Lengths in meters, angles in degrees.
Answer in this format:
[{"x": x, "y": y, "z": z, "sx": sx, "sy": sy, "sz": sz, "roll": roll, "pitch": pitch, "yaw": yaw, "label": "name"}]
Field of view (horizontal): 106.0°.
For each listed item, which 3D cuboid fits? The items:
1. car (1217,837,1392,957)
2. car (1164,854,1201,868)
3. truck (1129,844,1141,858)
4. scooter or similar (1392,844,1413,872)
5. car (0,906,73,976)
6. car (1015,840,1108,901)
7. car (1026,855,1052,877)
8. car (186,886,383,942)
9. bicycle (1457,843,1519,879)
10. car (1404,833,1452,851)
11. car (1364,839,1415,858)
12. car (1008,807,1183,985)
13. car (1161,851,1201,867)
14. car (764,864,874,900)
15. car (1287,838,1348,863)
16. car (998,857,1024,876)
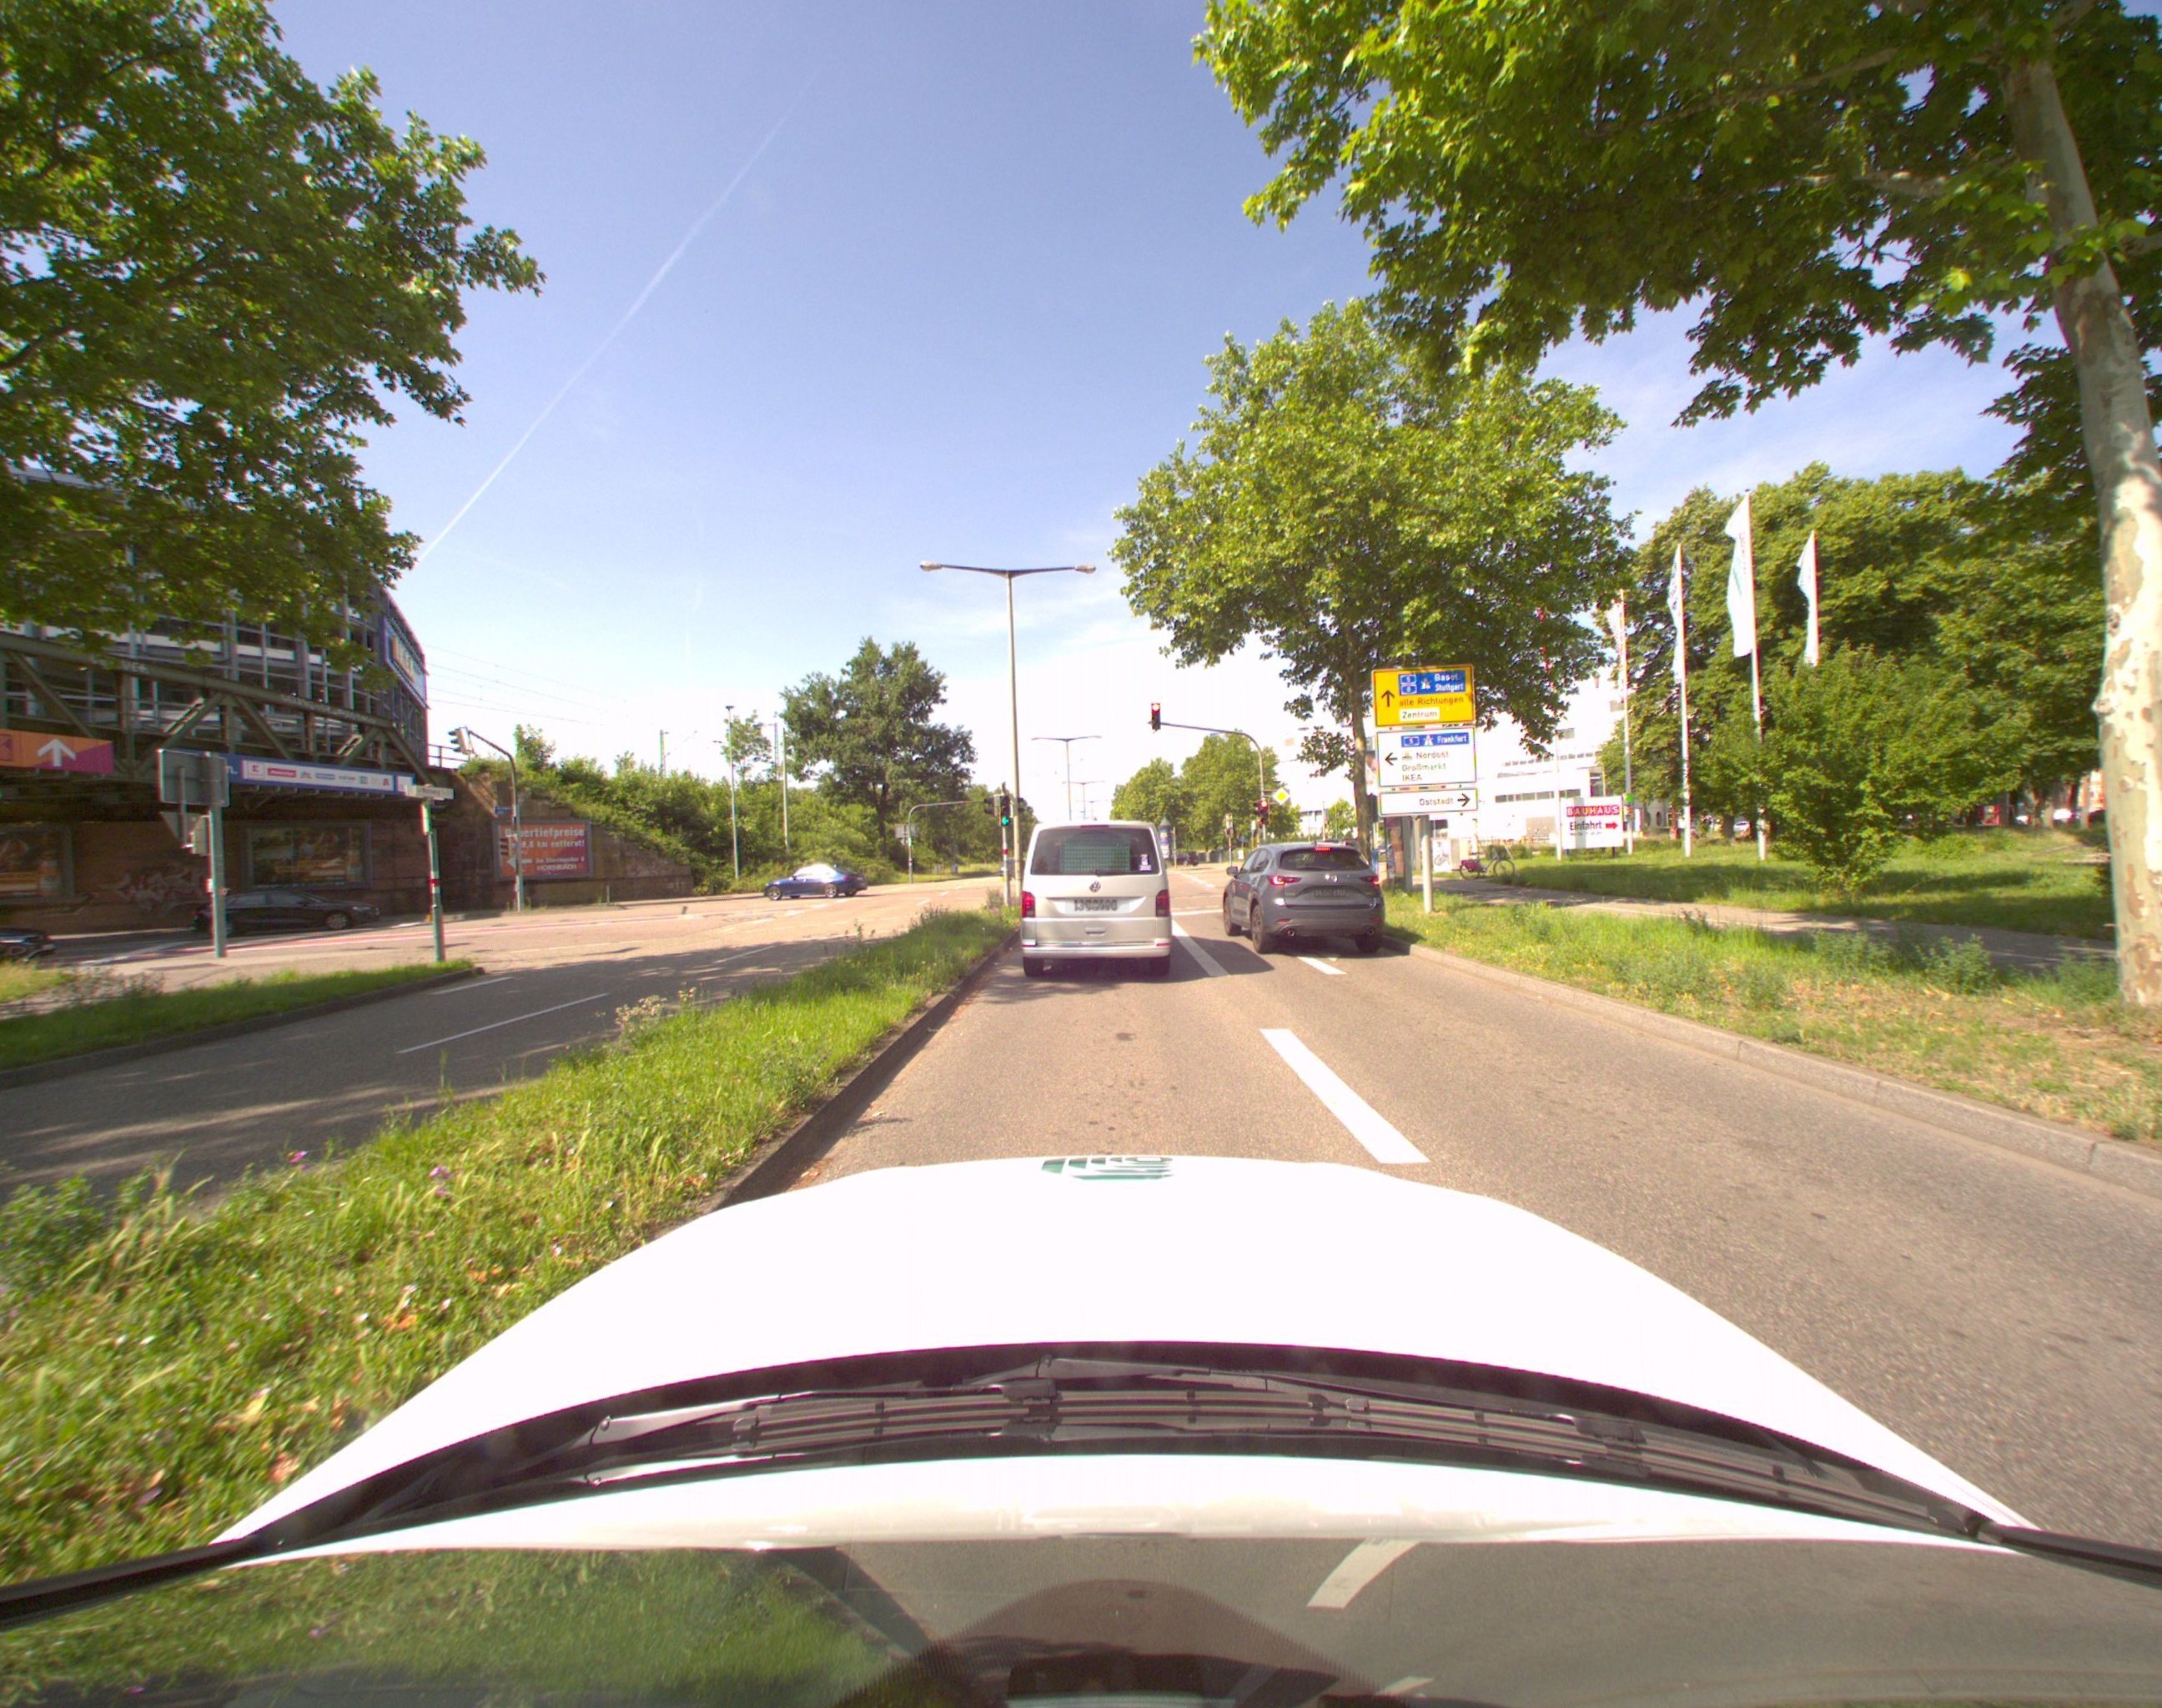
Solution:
[{"x": 3.497, "y": 0.607, "z": 13.615, "sx": 1.760, "sy": 1.659, "sz": 4.497, "roll": -1, "pitch": 0, "yaw": 1, "label": "car"}, {"x": 10.038, "y": 0.668, "z": 80.737, "sx": 3.210, "sy": 1.236, "sz": 1.659, "roll": -3, "pitch": 0, "yaw": 32, "label": "car"}, {"x": 17.268, "y": -1.034, "z": 259.826, "sx": 3.176, "sy": 4.355, "sz": 13.165, "roll": -3, "pitch": 0, "yaw": 5, "label": "truck"}, {"x": 13.820, "y": 0.167, "z": 35.024, "sx": 0.423, "sy": 1.126, "sz": 1.124, "roll": -3, "pitch": 0, "yaw": 1, "label": "scooter or similar"}, {"x": -25.609, "y": 2.013, "z": 17.897, "sx": 3.959, "sy": 1.481, "sz": 1.804, "roll": -1, "pitch": -1, "yaw": -34, "label": "car"}, {"x": -0.810, "y": 0.573, "z": 29.281, "sx": 1.975, "sy": 1.924, "sz": 4.530, "roll": -2, "pitch": 0, "yaw": -19, "label": "car"}, {"x": -3.340, "y": 0.927, "z": 65.397, "sx": 1.803, "sy": 1.605, "sz": 4.376, "roll": -3, "pitch": 0, "yaw": -1, "label": "car"}, {"x": -25.961, "y": 1.912, "z": 26.782, "sx": 4.353, "sy": 1.395, "sz": 1.752, "roll": -3, "pitch": 0, "yaw": -35, "label": "car"}, {"x": 13.913, "y": 0.236, "z": 27.886, "sx": 1.771, "sy": 1.108, "sz": 0.506, "roll": -4, "pitch": -1, "yaw": 20, "label": "bicycle"}, {"x": 31.649, "y": -1.098, "z": 74.298, "sx": 4.646, "sy": 1.444, "sz": 1.762, "roll": -3, "pitch": 0, "yaw": -35, "label": "car"}, {"x": 26.958, "y": -0.491, "z": 71.140, "sx": 4.646, "sy": 1.444, "sz": 1.762, "roll": -3, "pitch": 0, "yaw": -35, "label": "car"}, {"x": 0.237, "y": 0.487, "z": 11.802, "sx": 1.934, "sy": 1.971, "sz": 5.024, "roll": -2, "pitch": 0, "yaw": 2, "label": "car"}, {"x": 9.954, "y": 0.466, "z": 80.744, "sx": 3.567, "sy": 1.566, "sz": 2.009, "roll": -1, "pitch": -1, "yaw": 17, "label": "car"}, {"x": -11.728, "y": 1.240, "z": 36.517, "sx": 4.280, "sy": 1.397, "sz": 1.799, "roll": -3, "pitch": 0, "yaw": 14, "label": "car"}, {"x": 17.850, "y": -0.290, "z": 61.377, "sx": 4.646, "sy": 1.689, "sz": 1.895, "roll": -3, "pitch": 0, "yaw": -35, "label": "car"}, {"x": -6.059, "y": 1.049, "z": 70.836, "sx": 1.844, "sy": 1.561, "sz": 3.999, "roll": -3, "pitch": 0, "yaw": 0, "label": "car"}]
